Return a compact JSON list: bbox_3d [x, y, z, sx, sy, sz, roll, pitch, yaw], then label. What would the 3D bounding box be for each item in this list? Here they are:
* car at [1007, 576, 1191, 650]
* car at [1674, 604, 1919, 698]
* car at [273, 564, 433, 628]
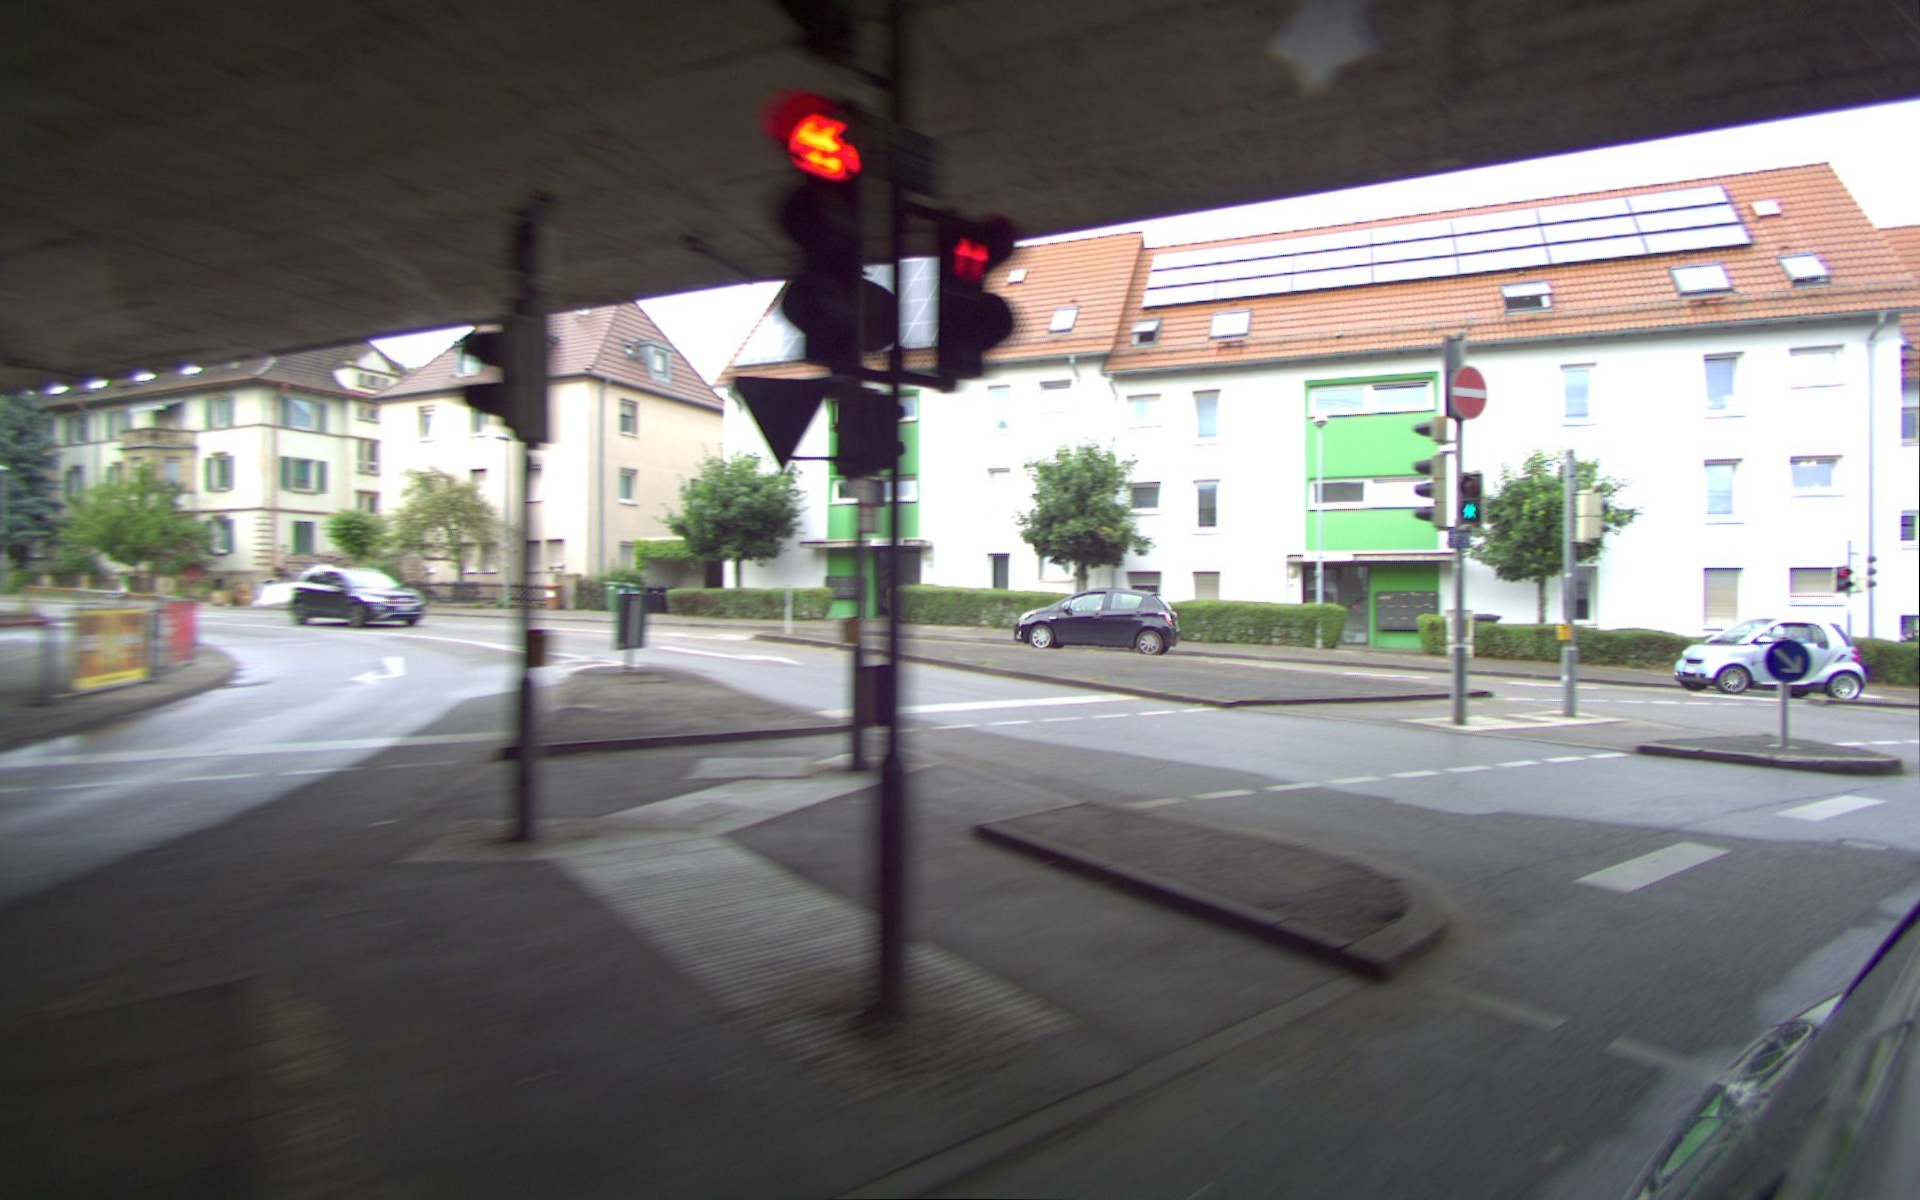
[{"bbox_3d":[3.229,0.287,23.415,3.949,1.477,1.635,3,-1,19],"label":"car"},{"bbox_3d":[16.245,0.943,19.544,3.572,1.577,1.640,3,-1,12],"label":"car"},{"bbox_3d":[-16.739,-0.159,27.882,4.190,1.599,1.755,2,3,25],"label":"car"}]
